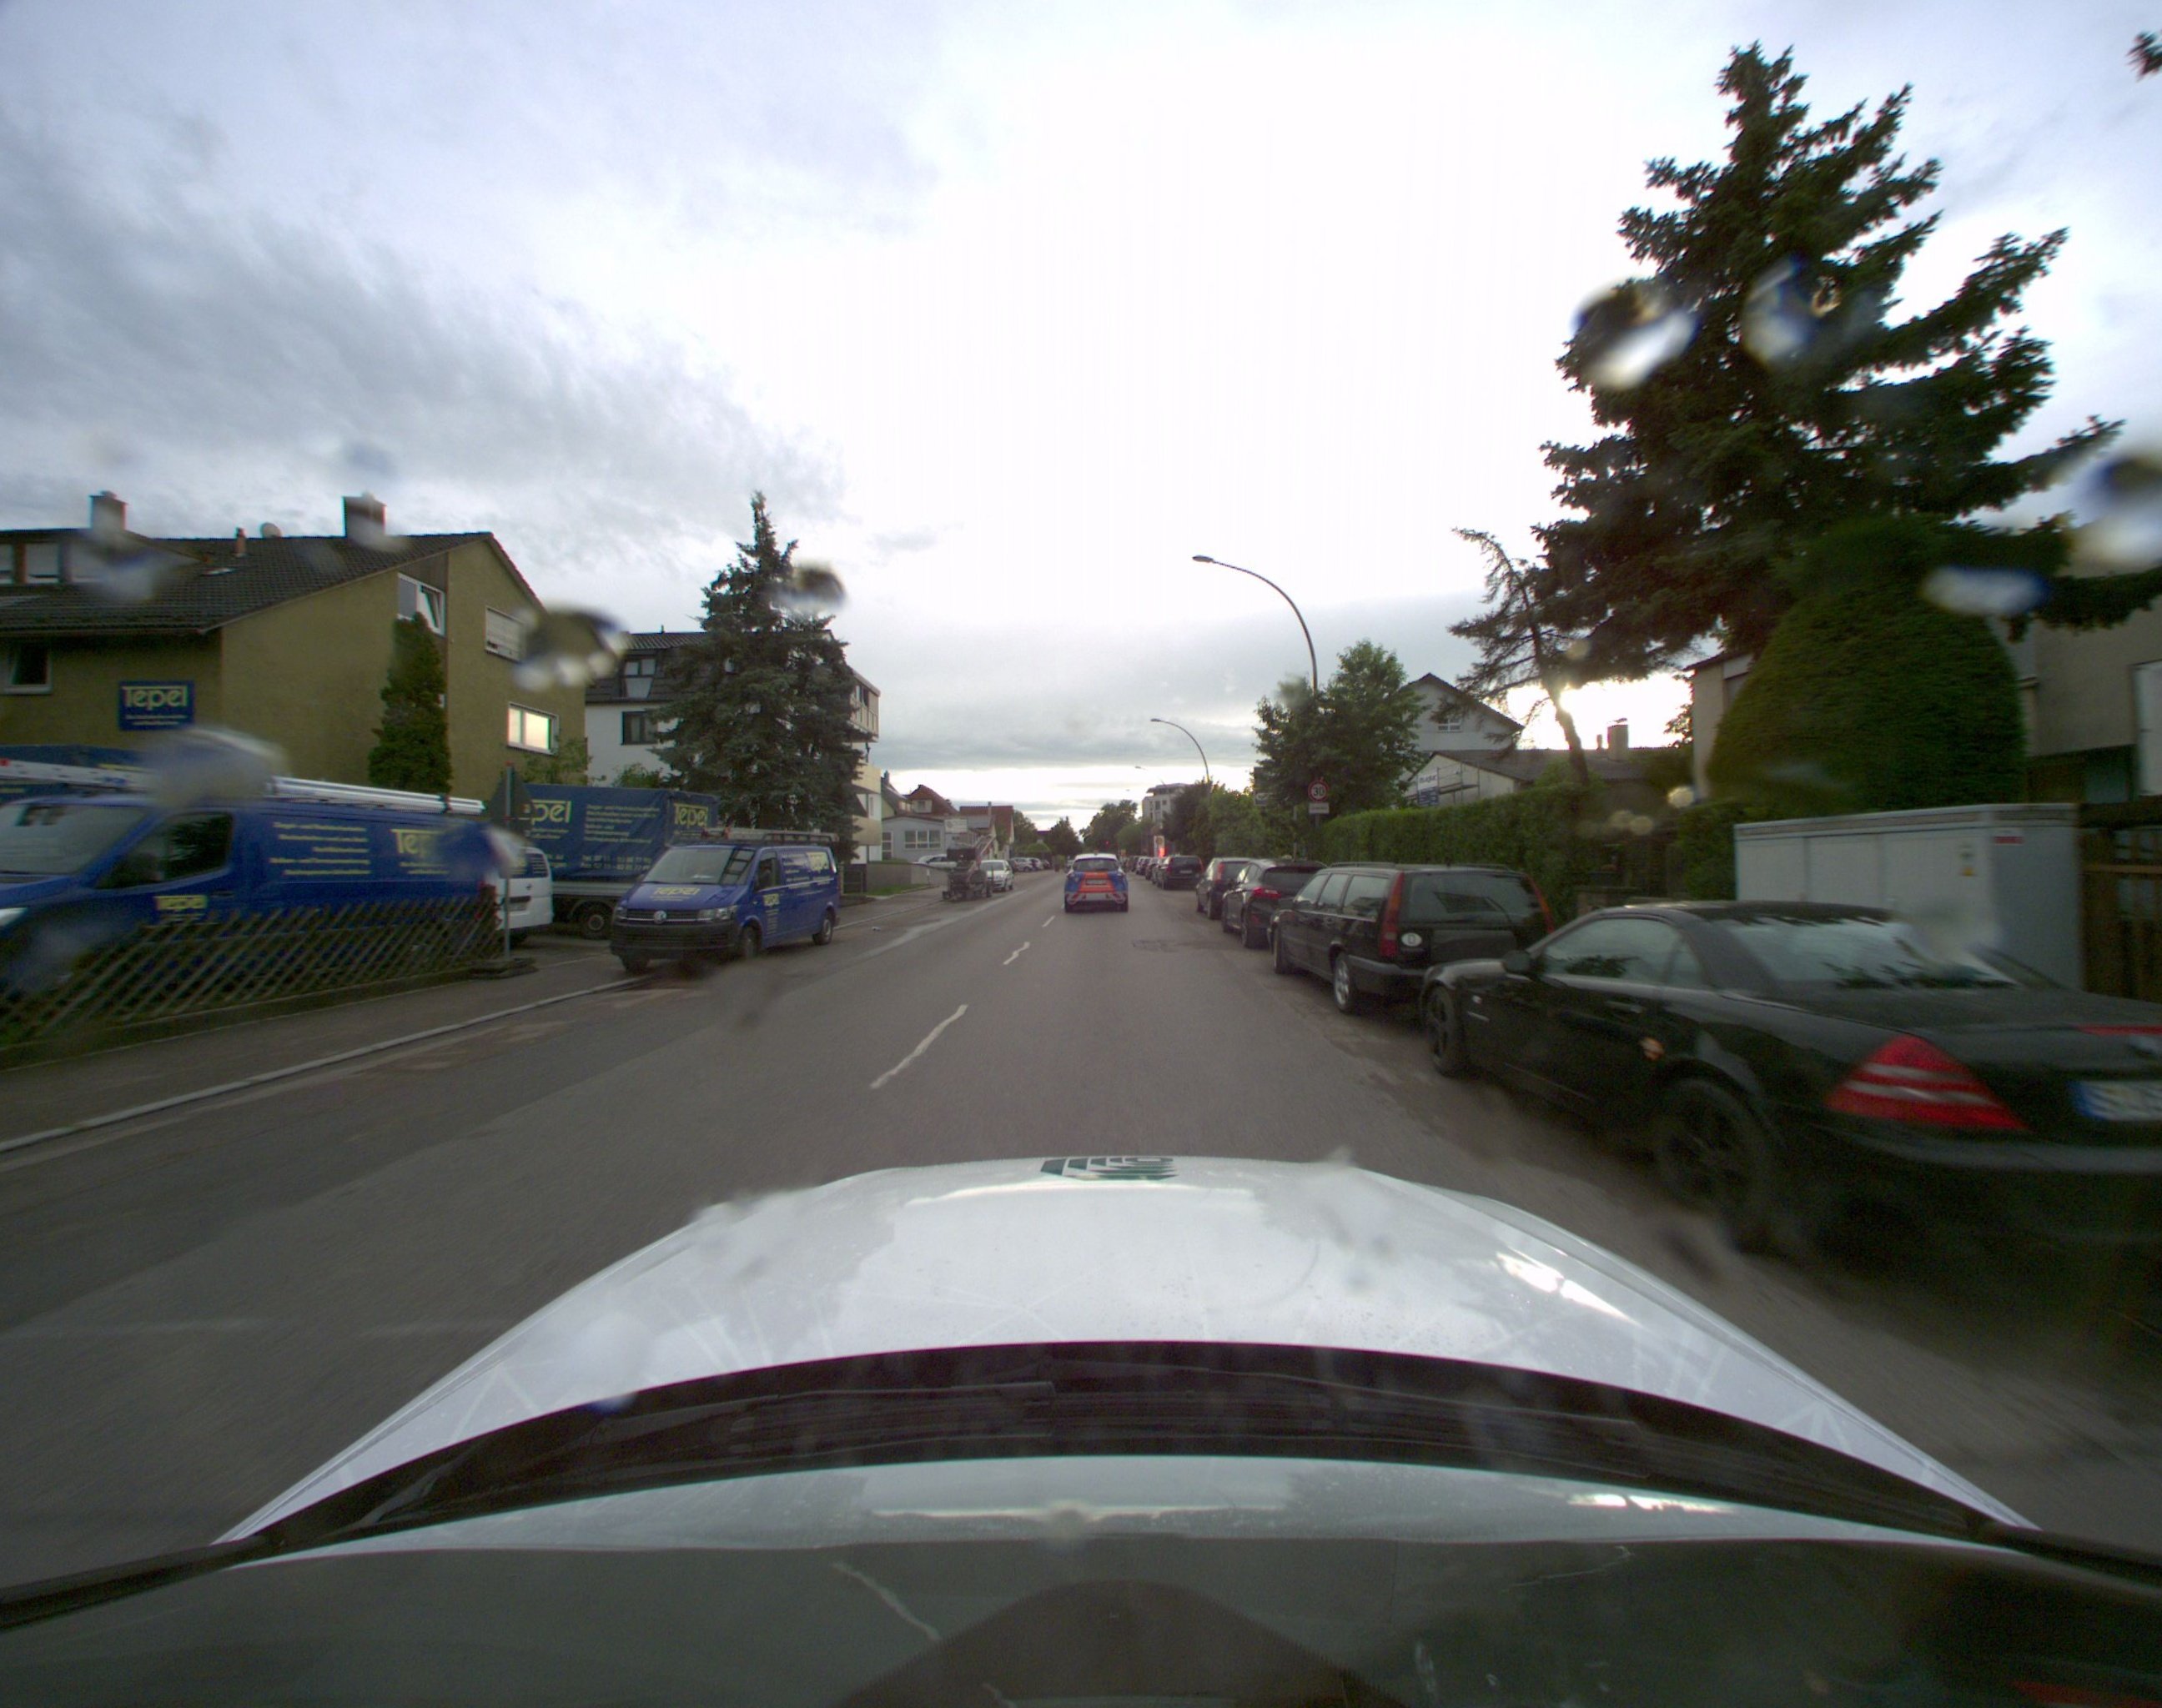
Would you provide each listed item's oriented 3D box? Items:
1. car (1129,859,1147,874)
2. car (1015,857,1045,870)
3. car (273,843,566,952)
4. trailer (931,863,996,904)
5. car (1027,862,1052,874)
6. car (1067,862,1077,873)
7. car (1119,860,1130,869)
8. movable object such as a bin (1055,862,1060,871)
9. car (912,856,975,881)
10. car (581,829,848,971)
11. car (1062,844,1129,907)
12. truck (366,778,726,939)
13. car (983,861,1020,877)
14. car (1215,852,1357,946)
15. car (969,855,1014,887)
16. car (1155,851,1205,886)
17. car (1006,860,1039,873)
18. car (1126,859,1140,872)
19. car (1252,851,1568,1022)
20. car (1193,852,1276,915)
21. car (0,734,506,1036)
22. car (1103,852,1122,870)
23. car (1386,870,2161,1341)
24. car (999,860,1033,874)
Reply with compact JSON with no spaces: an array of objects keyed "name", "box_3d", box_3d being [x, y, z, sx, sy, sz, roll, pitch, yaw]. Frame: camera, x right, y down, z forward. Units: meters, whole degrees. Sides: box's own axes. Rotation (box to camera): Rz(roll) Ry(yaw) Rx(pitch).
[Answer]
[{"name":"car","box_3d":[5.936,1.283,84.945,1.644,1.522,4.000,1,-1,0]},{"name":"car","box_3d":[-6.302,1.225,100.797,3.644,1.483,1.478,-2,0,-3]},{"name":"car","box_3d":[-11.486,0.719,14.318,3.693,1.750,1.779,1,-1,3]},{"name":"trailer","box_3d":[-4.459,1.087,31.648,1.711,1.260,5.244,1,1,0]},{"name":"car","box_3d":[-5.574,1.884,108.736,3.273,1.448,1.478,-2,0,-3]},{"name":"car","box_3d":[-1.339,1.973,117.572,1.381,1.483,3.783,-1,-1,0]},{"name":"car","box_3d":[7.348,1.866,138.654,1.644,1.483,4.000,1,-1,0]},{"name":"movable object such as a bin","box_3d":[-2.970,1.577,102.683,0.577,1.204,0.319,0,-1,1]},{"name":"car","box_3d":[-8.852,0.911,52.623,3.747,1.568,1.655,1,-1,0]},{"name":"car","box_3d":[-5.827,0.635,13.913,1.986,1.947,5.367,0,0,1]},{"name":"car","box_3d":[0.423,0.580,22.890,1.725,1.631,3.495,-1,-1,1]},{"name":"truck","box_3d":[-10.959,0.093,17.072,5.888,3.073,2.451,1,-1,2]},{"name":"car","box_3d":[-7.943,1.509,81.920,3.571,1.526,1.654,1,-1,-3]},{"name":"car","box_3d":[3.504,0.699,14.564,1.651,1.449,3.830,1,0,1]},{"name":"car","box_3d":[-4.212,0.796,38.959,1.551,1.433,4.002,1,-1,2]},{"name":"car","box_3d":[4.360,0.636,36.423,1.706,1.438,4.525,1,-1,0]},{"name":"car","box_3d":[-6.925,1.466,96.855,3.750,1.483,1.654,1,-1,-3]},{"name":"car","box_3d":[6.777,1.504,106.712,1.644,1.672,4.000,1,-1,0]},{"name":"car","box_3d":[3.269,0.723,9.224,1.651,1.419,4.775,1,-1,0]},{"name":"car","box_3d":[3.749,0.682,20.464,1.481,1.439,3.808,1,0,2]},{"name":"car","box_3d":[-10.114,0.291,9.545,2.067,2.567,6.205,1,-1,3]},{"name":"car","box_3d":[2.835,0.638,74.290,1.644,1.522,4.000,1,-1,0]},{"name":"car","box_3d":[3.247,0.816,4.524,1.584,1.341,4.092,2,0,0]},{"name":"car","box_3d":[-7.318,1.437,92.499,3.750,1.576,1.654,1,-1,-3]}]
